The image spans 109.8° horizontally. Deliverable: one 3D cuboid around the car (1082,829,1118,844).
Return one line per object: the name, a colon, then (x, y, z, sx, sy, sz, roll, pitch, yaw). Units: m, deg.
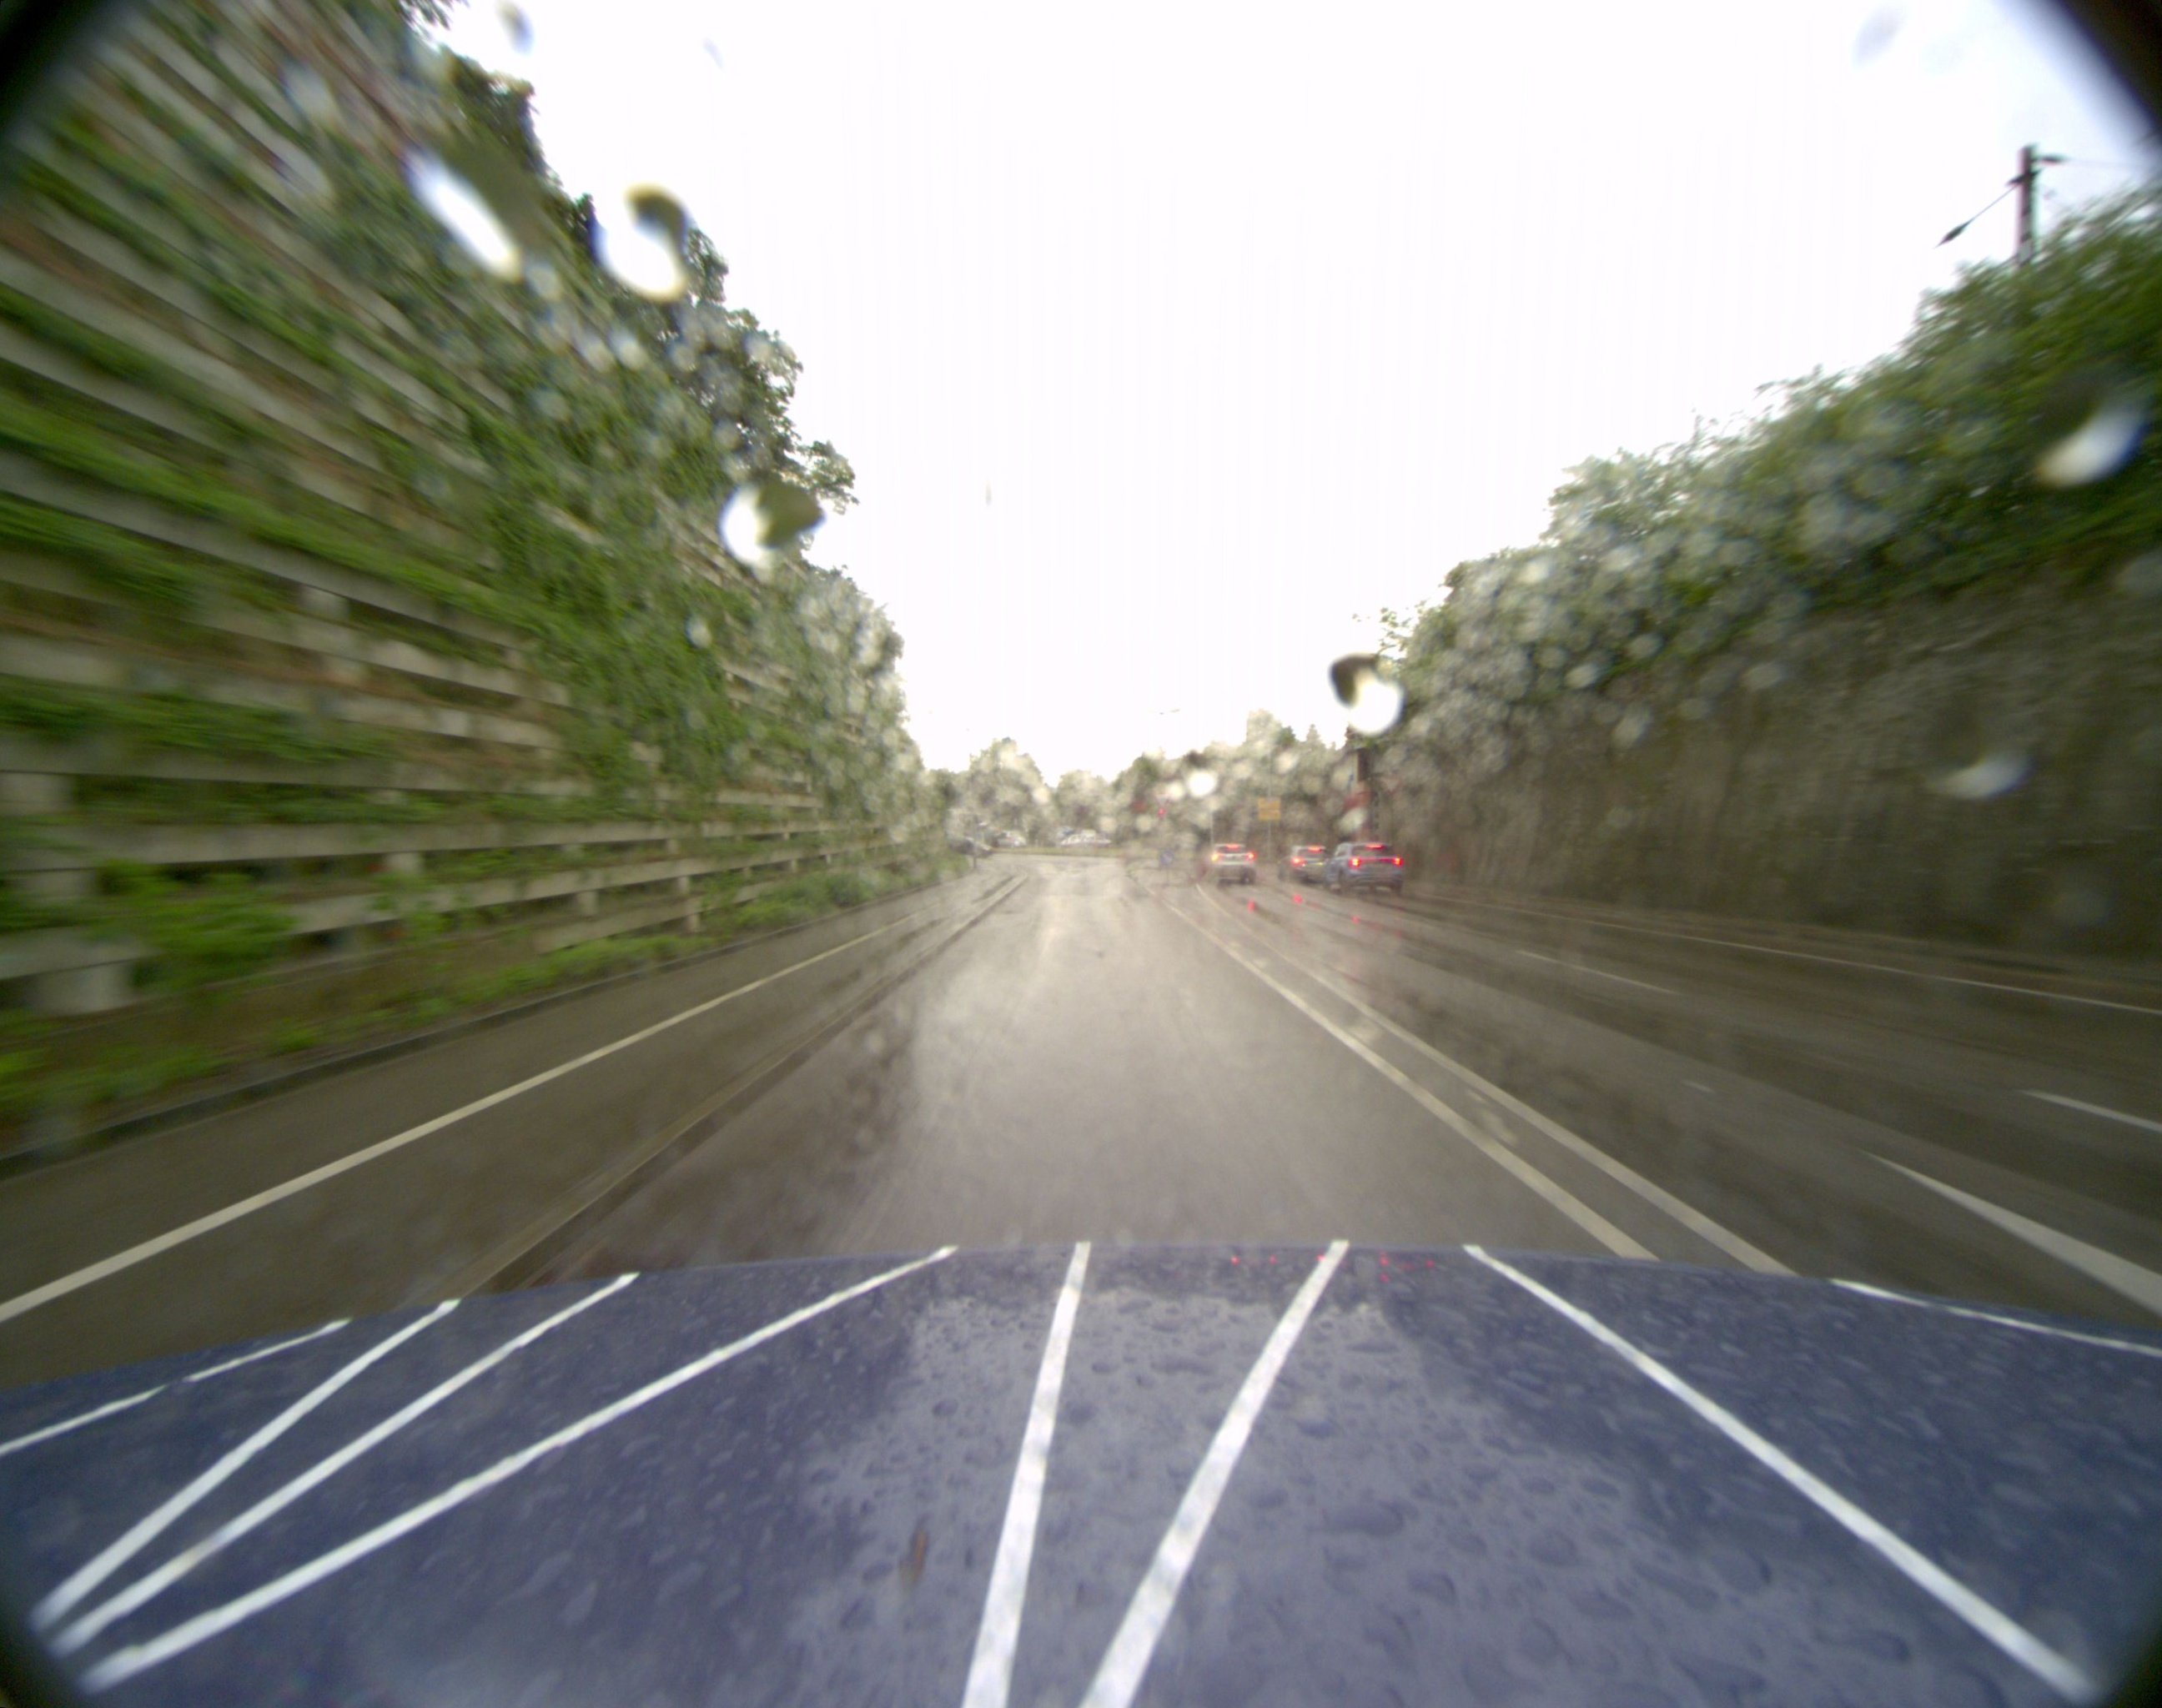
car: (2.087, -1.917, 82.750, 3.822, 1.559, 1.774, 2, 2, 0)

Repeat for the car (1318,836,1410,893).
car: (8.908, 0.271, 24.224, 1.818, 1.648, 4.051, -1, 1, 7)

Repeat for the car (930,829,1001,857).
car: (-7.906, -0.760, 52.181, 4.384, 1.867, 1.938, -1, 2, 10)

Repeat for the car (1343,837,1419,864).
car: (18.463, -0.229, 46.938, 4.146, 1.499, 1.684, 2, 2, 13)

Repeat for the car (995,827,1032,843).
car: (-8.355, -2.367, 94.798, 4.386, 1.756, 1.921, 2, 2, 1)

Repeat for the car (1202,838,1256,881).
car: (5.945, 0.183, 30.886, 1.872, 1.592, 4.001, -1, 1, 7)

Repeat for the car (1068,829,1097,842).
car: (0.156, -2.576, 104.709, 3.880, 1.619, 1.693, 2, 2, -4)

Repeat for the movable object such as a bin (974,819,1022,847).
movable object such as a bin: (-8.440, -2.144, 76.807, 2.316, 2.671, 5.686, 1, 1, -35)

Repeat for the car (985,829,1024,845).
car: (-8.273, -1.818, 82.430, 3.997, 1.565, 1.669, 2, 2, 0)

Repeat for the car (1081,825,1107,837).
car: (1.736, -3.094, 101.977, 3.478, 1.531, 1.447, 2, 2, -2)

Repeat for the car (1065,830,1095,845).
car: (-0.167, -2.337, 107.115, 3.961, 1.869, 1.693, 2, 2, -4)

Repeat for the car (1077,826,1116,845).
car: (1.720, -2.120, 85.138, 4.232, 1.969, 1.903, 2, 2, 0)

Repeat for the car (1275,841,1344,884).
car: (9.359, 0.288, 31.491, 1.997, 1.495, 4.731, 2, 2, 8)
